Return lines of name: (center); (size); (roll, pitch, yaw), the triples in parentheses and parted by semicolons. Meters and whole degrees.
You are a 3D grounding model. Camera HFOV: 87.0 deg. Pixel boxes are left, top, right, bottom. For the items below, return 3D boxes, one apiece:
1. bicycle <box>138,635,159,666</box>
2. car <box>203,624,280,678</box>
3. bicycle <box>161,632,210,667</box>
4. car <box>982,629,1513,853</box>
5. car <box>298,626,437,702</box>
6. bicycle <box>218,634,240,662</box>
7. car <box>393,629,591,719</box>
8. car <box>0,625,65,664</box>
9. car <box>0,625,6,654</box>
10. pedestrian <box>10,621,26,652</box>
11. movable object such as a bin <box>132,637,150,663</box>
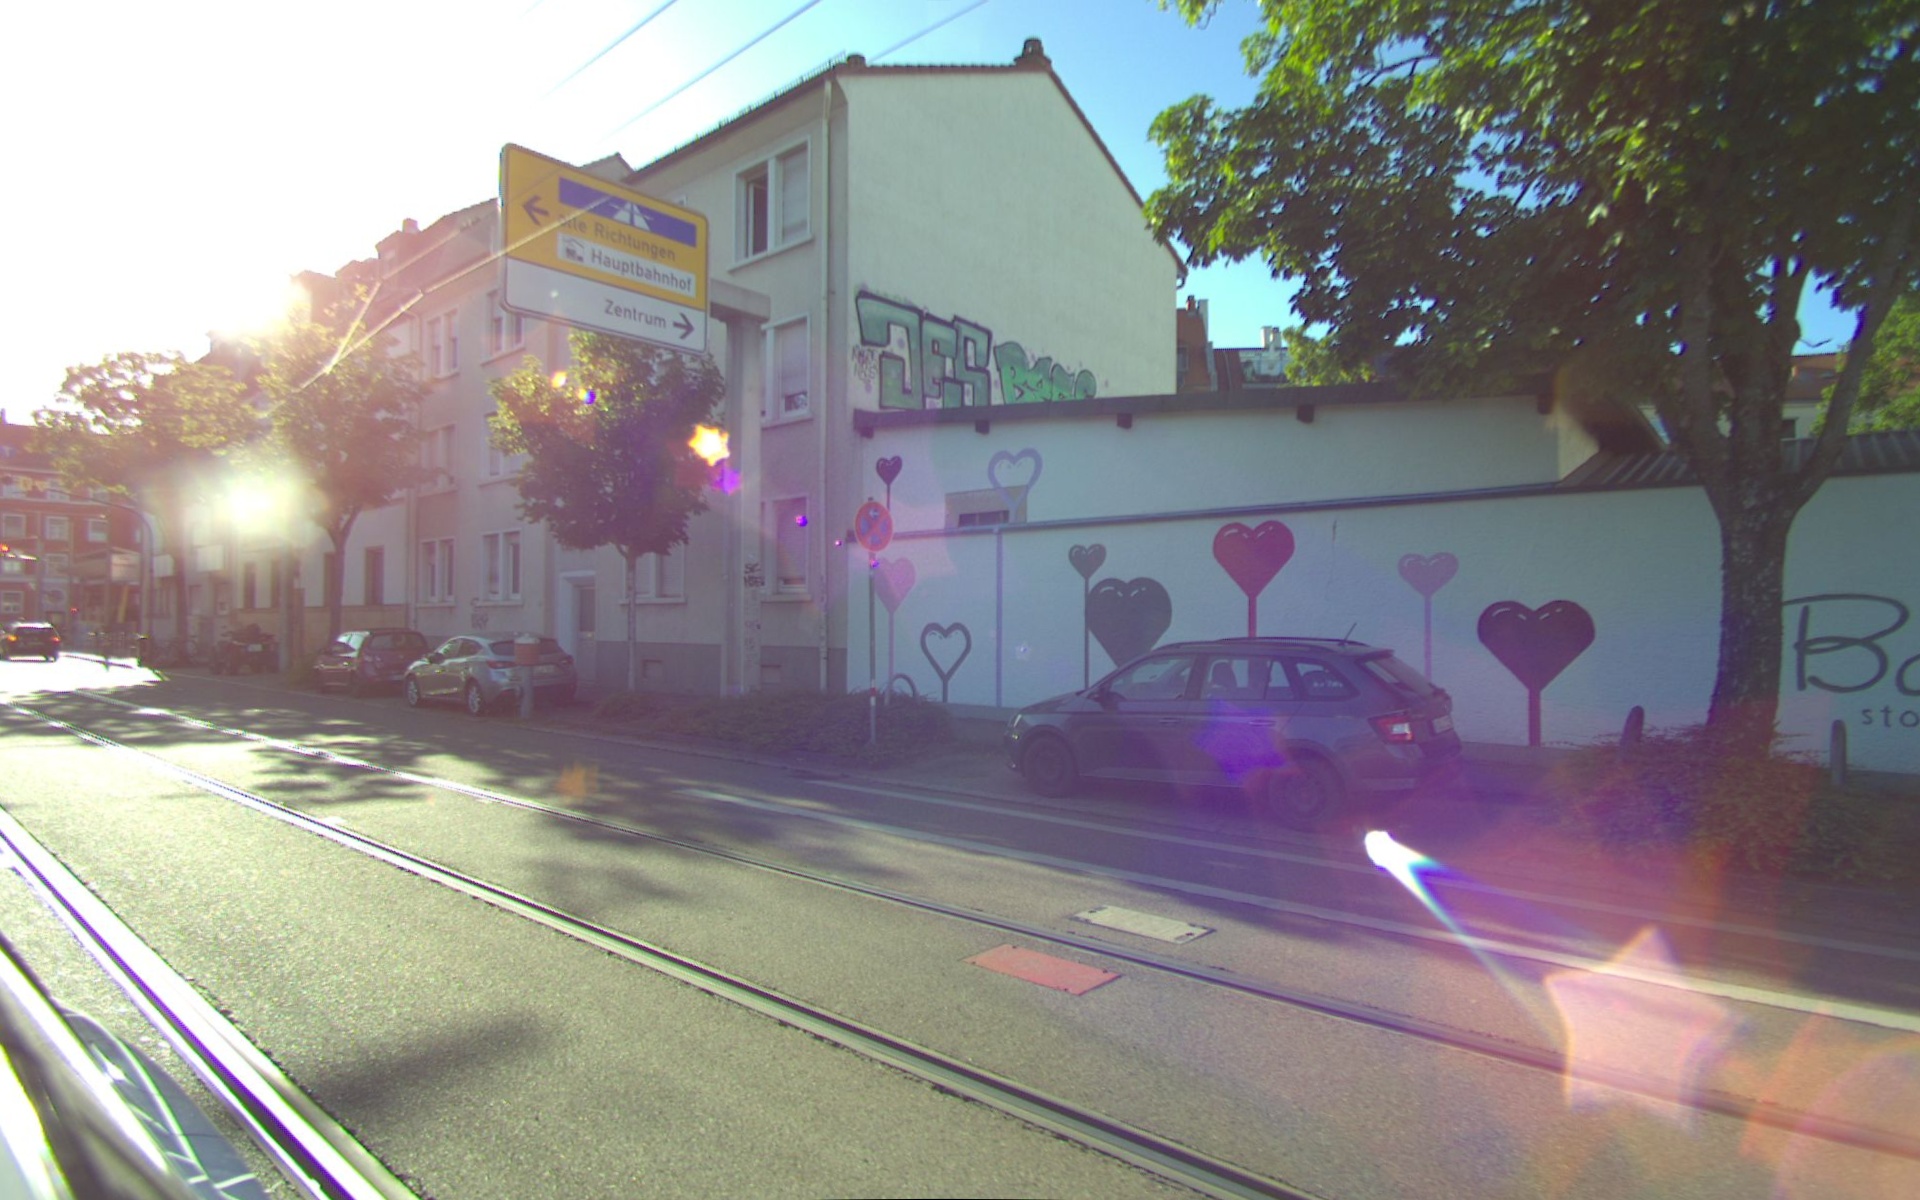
bicycle: (-29.082, 1.794, 36.270); (1.661, 1.050, 0.300); (-1, -1, 41)
car: (-21.785, 1.549, 30.679); (2.545, 1.514, 1.341); (-4, -3, 41)
bicycle: (-27.253, 1.748, 35.609); (0.409, 1.178, 1.326); (-1, -1, 41)
car: (2.411, 1.048, 9.175); (4.303, 1.497, 1.754); (-1, -1, 41)
car: (-13.479, 1.384, 22.938); (3.998, 1.516, 1.555); (-1, -1, 41)
bicycle: (-28.490, 1.845, 39.438); (1.661, 1.050, 0.300); (-1, -1, 41)
car: (-8.947, 1.315, 19.203); (4.291, 1.440, 1.854); (-1, -1, 41)
car: (-38.104, 1.777, 41.207); (4.743, 1.474, 1.748); (-1, -3, 40)
car: (-52.876, 2.114, 54.429); (3.998, 1.536, 1.898); (-1, -1, 41)
pedestrian: (-54.342, 2.103, 58.370); (0.583, 1.787, 0.631); (-1, -1, 41)
movable object such as a bin: (-30.060, 1.833, 37.142); (0.582, 0.942, 0.420); (-1, -1, 41)
